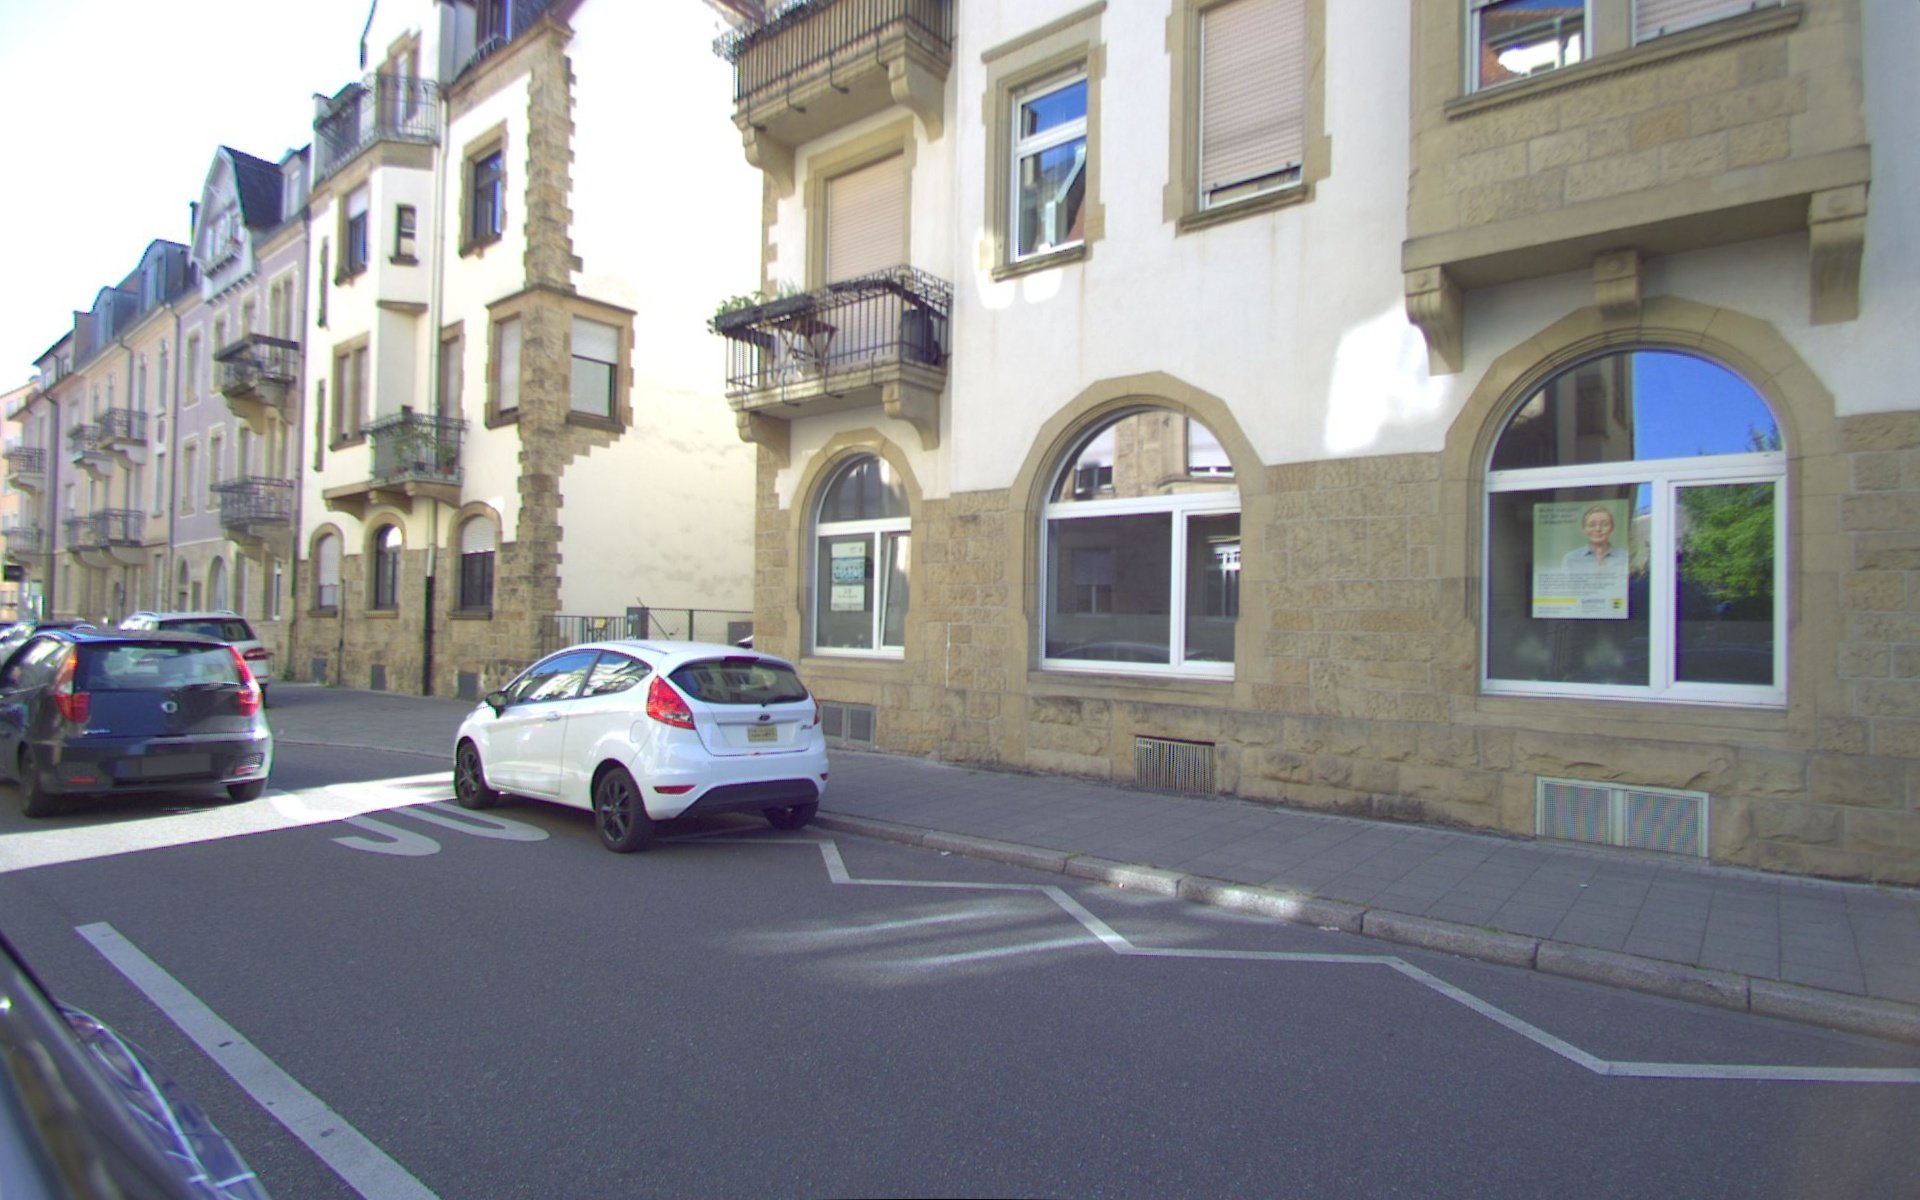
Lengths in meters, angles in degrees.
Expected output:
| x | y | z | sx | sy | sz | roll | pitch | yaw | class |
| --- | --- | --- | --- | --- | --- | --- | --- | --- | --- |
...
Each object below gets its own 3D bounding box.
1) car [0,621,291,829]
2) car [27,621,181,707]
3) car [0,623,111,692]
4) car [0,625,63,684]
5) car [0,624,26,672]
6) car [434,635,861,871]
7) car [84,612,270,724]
| x | y | z | sx | sy | sz | roll | pitch | yaw | class |
| --- | --- | --- | --- | --- | --- | --- | --- | --- | --- |
| -7.537 | 0.930 | 8.981 | 3.639 | 1.468 | 1.636 | -1 | -2 | 39 | car |
| -18.452 | 1.288 | 21.751 | 4.319 | 1.519 | 1.866 | -1 | 2 | 41 | car |
| -22.956 | 1.380 | 25.432 | 4.319 | 1.520 | 1.866 | -1 | 0 | 41 | car |
| -27.164 | 1.513 | 28.872 | 4.317 | 1.511 | 1.833 | -1 | 0 | 41 | car |
| -33.148 | 1.603 | 34.219 | 4.319 | 1.520 | 1.866 | -1 | 0 | 41 | car |
| -2.645 | 1.045 | 8.178 | 3.642 | 1.469 | 1.634 | -2 | -5 | 42 | car |
| -14.055 | 1.098 | 18.080 | 4.209 | 1.740 | 1.866 | -1 | 0 | 41 | car |
